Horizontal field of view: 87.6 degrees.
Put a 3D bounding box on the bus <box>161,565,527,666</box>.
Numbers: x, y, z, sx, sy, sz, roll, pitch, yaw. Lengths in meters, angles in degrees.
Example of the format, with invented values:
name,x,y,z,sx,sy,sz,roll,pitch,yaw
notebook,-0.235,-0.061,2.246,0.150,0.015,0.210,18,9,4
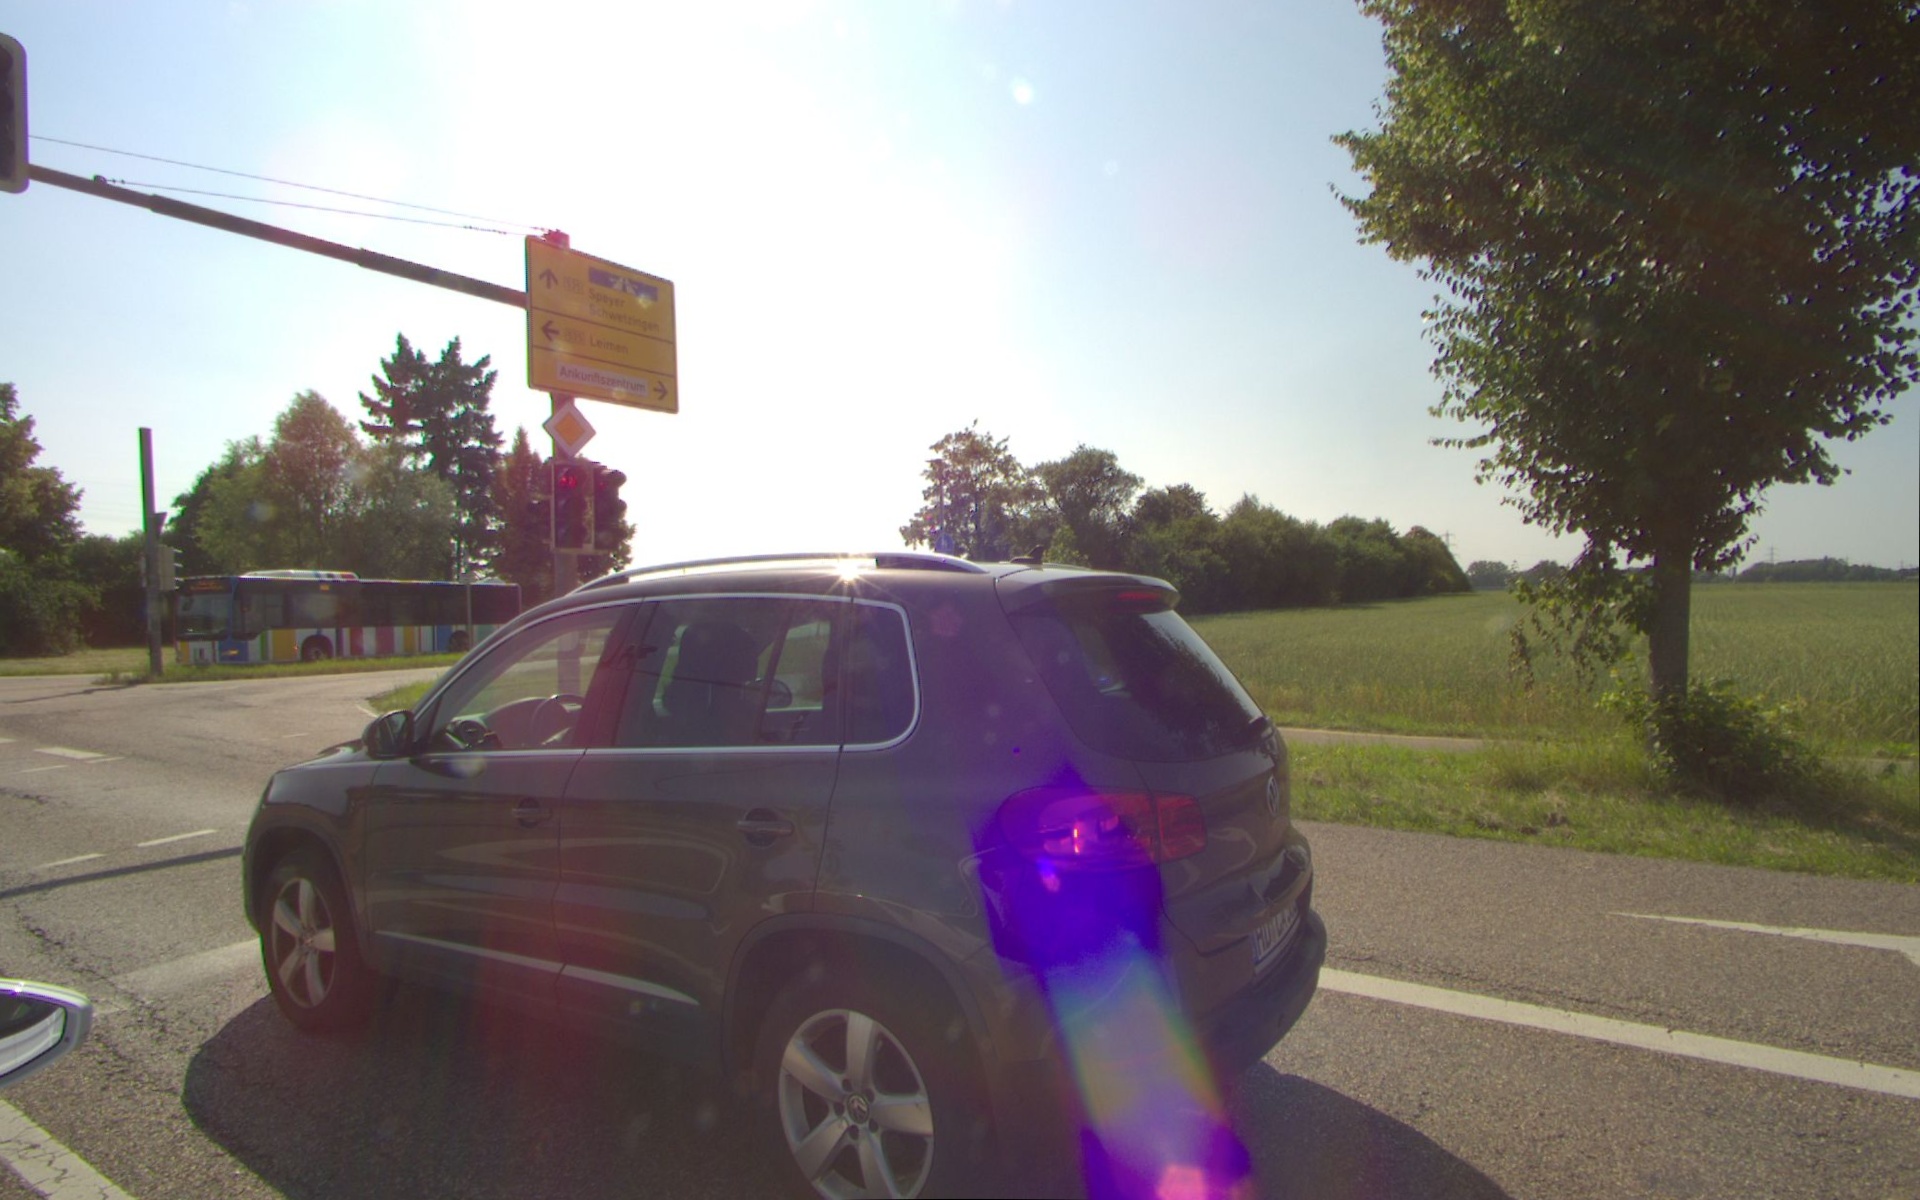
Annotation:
name,x,y,z,sx,sy,sz,roll,pitch,yaw
bus,-20.675,0.404,35.190,2.889,2.916,11.955,-1,0,17

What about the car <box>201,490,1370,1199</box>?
name,x,y,z,sx,sy,sz,roll,pitch,yaw
car,-0.825,0.690,3.657,4.086,1.677,1.753,-1,-2,32
